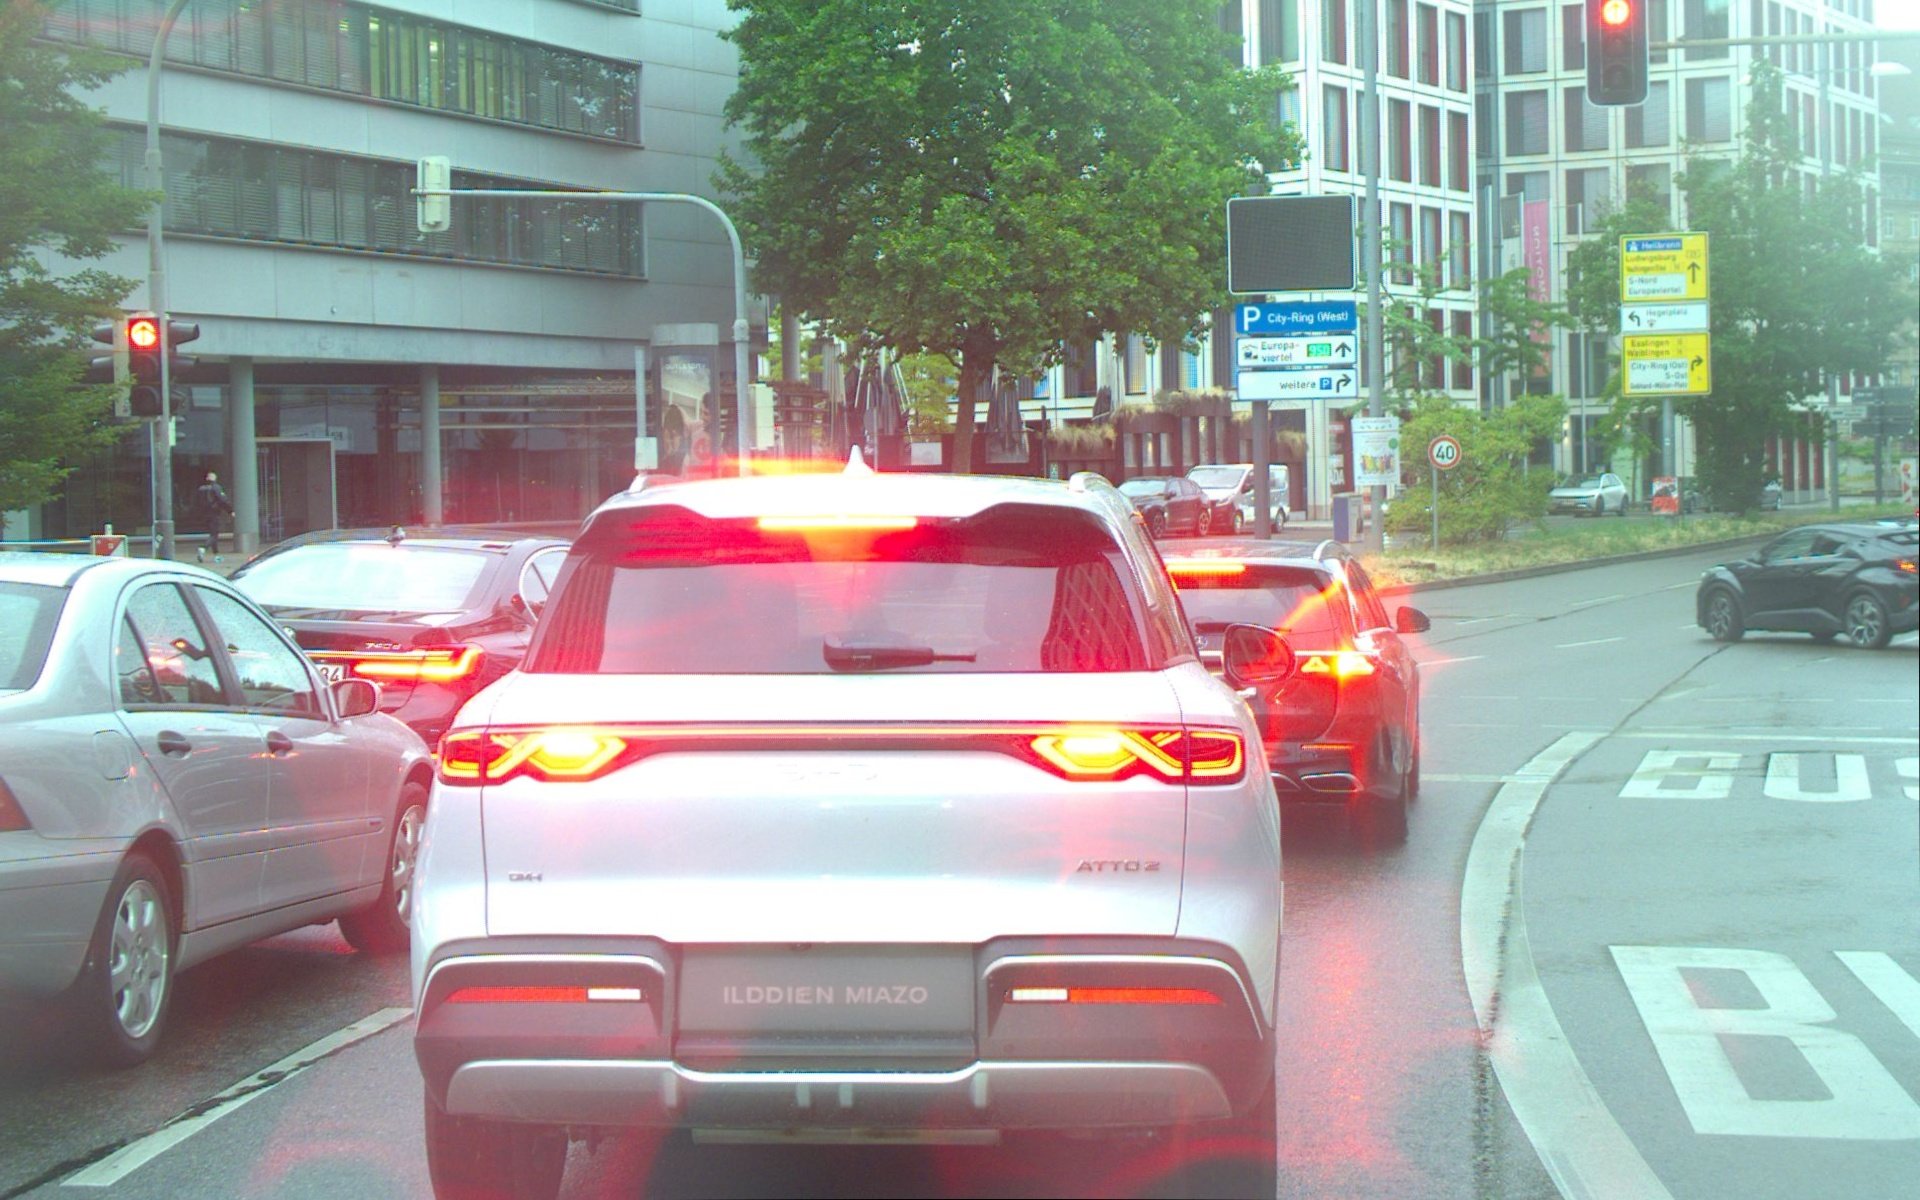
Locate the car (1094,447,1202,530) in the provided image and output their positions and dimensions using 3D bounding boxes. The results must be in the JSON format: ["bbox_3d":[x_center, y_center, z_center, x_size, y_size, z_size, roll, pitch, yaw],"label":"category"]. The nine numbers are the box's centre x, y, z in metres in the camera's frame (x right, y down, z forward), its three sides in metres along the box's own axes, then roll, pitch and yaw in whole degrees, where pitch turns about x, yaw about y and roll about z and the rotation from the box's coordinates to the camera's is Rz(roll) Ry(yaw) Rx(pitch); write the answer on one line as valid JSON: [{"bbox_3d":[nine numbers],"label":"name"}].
[{"bbox_3d":[5.070,-2.955,92.051,1.739,2.154,4.490,1,1,18],"label":"car"}]

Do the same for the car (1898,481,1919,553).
[{"bbox_3d":[21.721,-1.794,74.506,1.913,1.505,4.350,2,2,26],"label":"car"}]

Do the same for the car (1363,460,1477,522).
[{"bbox_3d":[13.568,-3.230,101.275,1.997,1.700,3.994,1,4,30],"label":"car"}]

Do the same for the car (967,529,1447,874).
[{"bbox_3d":[1.383,0.413,17.576,1.956,1.525,3.998,0,1,11],"label":"car"}]

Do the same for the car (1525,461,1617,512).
[{"bbox_3d":[21.503,-4.023,120.942,1.996,1.700,4.303,1,3,28],"label":"car"}]

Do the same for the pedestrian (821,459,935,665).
[{"bbox_3d":[-0.704,-0.329,29.338,0.921,1.732,0.730,0,1,-4],"label":"pedestrian"}]

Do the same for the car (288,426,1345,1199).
[{"bbox_3d":[-0.107,0.470,8.715,1.994,1.703,4.482,0,2,4],"label":"car"}]

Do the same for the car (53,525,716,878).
[{"bbox_3d":[-2.697,0.396,17.129,1.956,1.525,3.998,0,1,11],"label":"car"}]

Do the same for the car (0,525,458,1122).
[{"bbox_3d":[-2.987,0.525,10.735,1.682,1.481,4.195,0,2,8],"label":"car"}]

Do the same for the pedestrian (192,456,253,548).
[{"bbox_3d":[-13.925,-1.837,64.911,0.728,1.721,0.924,0,1,22],"label":"pedestrian"}]

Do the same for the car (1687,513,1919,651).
[{"bbox_3d":[10.980,-0.254,42.214,1.993,1.546,4.001,0,2,-25],"label":"car"}]
